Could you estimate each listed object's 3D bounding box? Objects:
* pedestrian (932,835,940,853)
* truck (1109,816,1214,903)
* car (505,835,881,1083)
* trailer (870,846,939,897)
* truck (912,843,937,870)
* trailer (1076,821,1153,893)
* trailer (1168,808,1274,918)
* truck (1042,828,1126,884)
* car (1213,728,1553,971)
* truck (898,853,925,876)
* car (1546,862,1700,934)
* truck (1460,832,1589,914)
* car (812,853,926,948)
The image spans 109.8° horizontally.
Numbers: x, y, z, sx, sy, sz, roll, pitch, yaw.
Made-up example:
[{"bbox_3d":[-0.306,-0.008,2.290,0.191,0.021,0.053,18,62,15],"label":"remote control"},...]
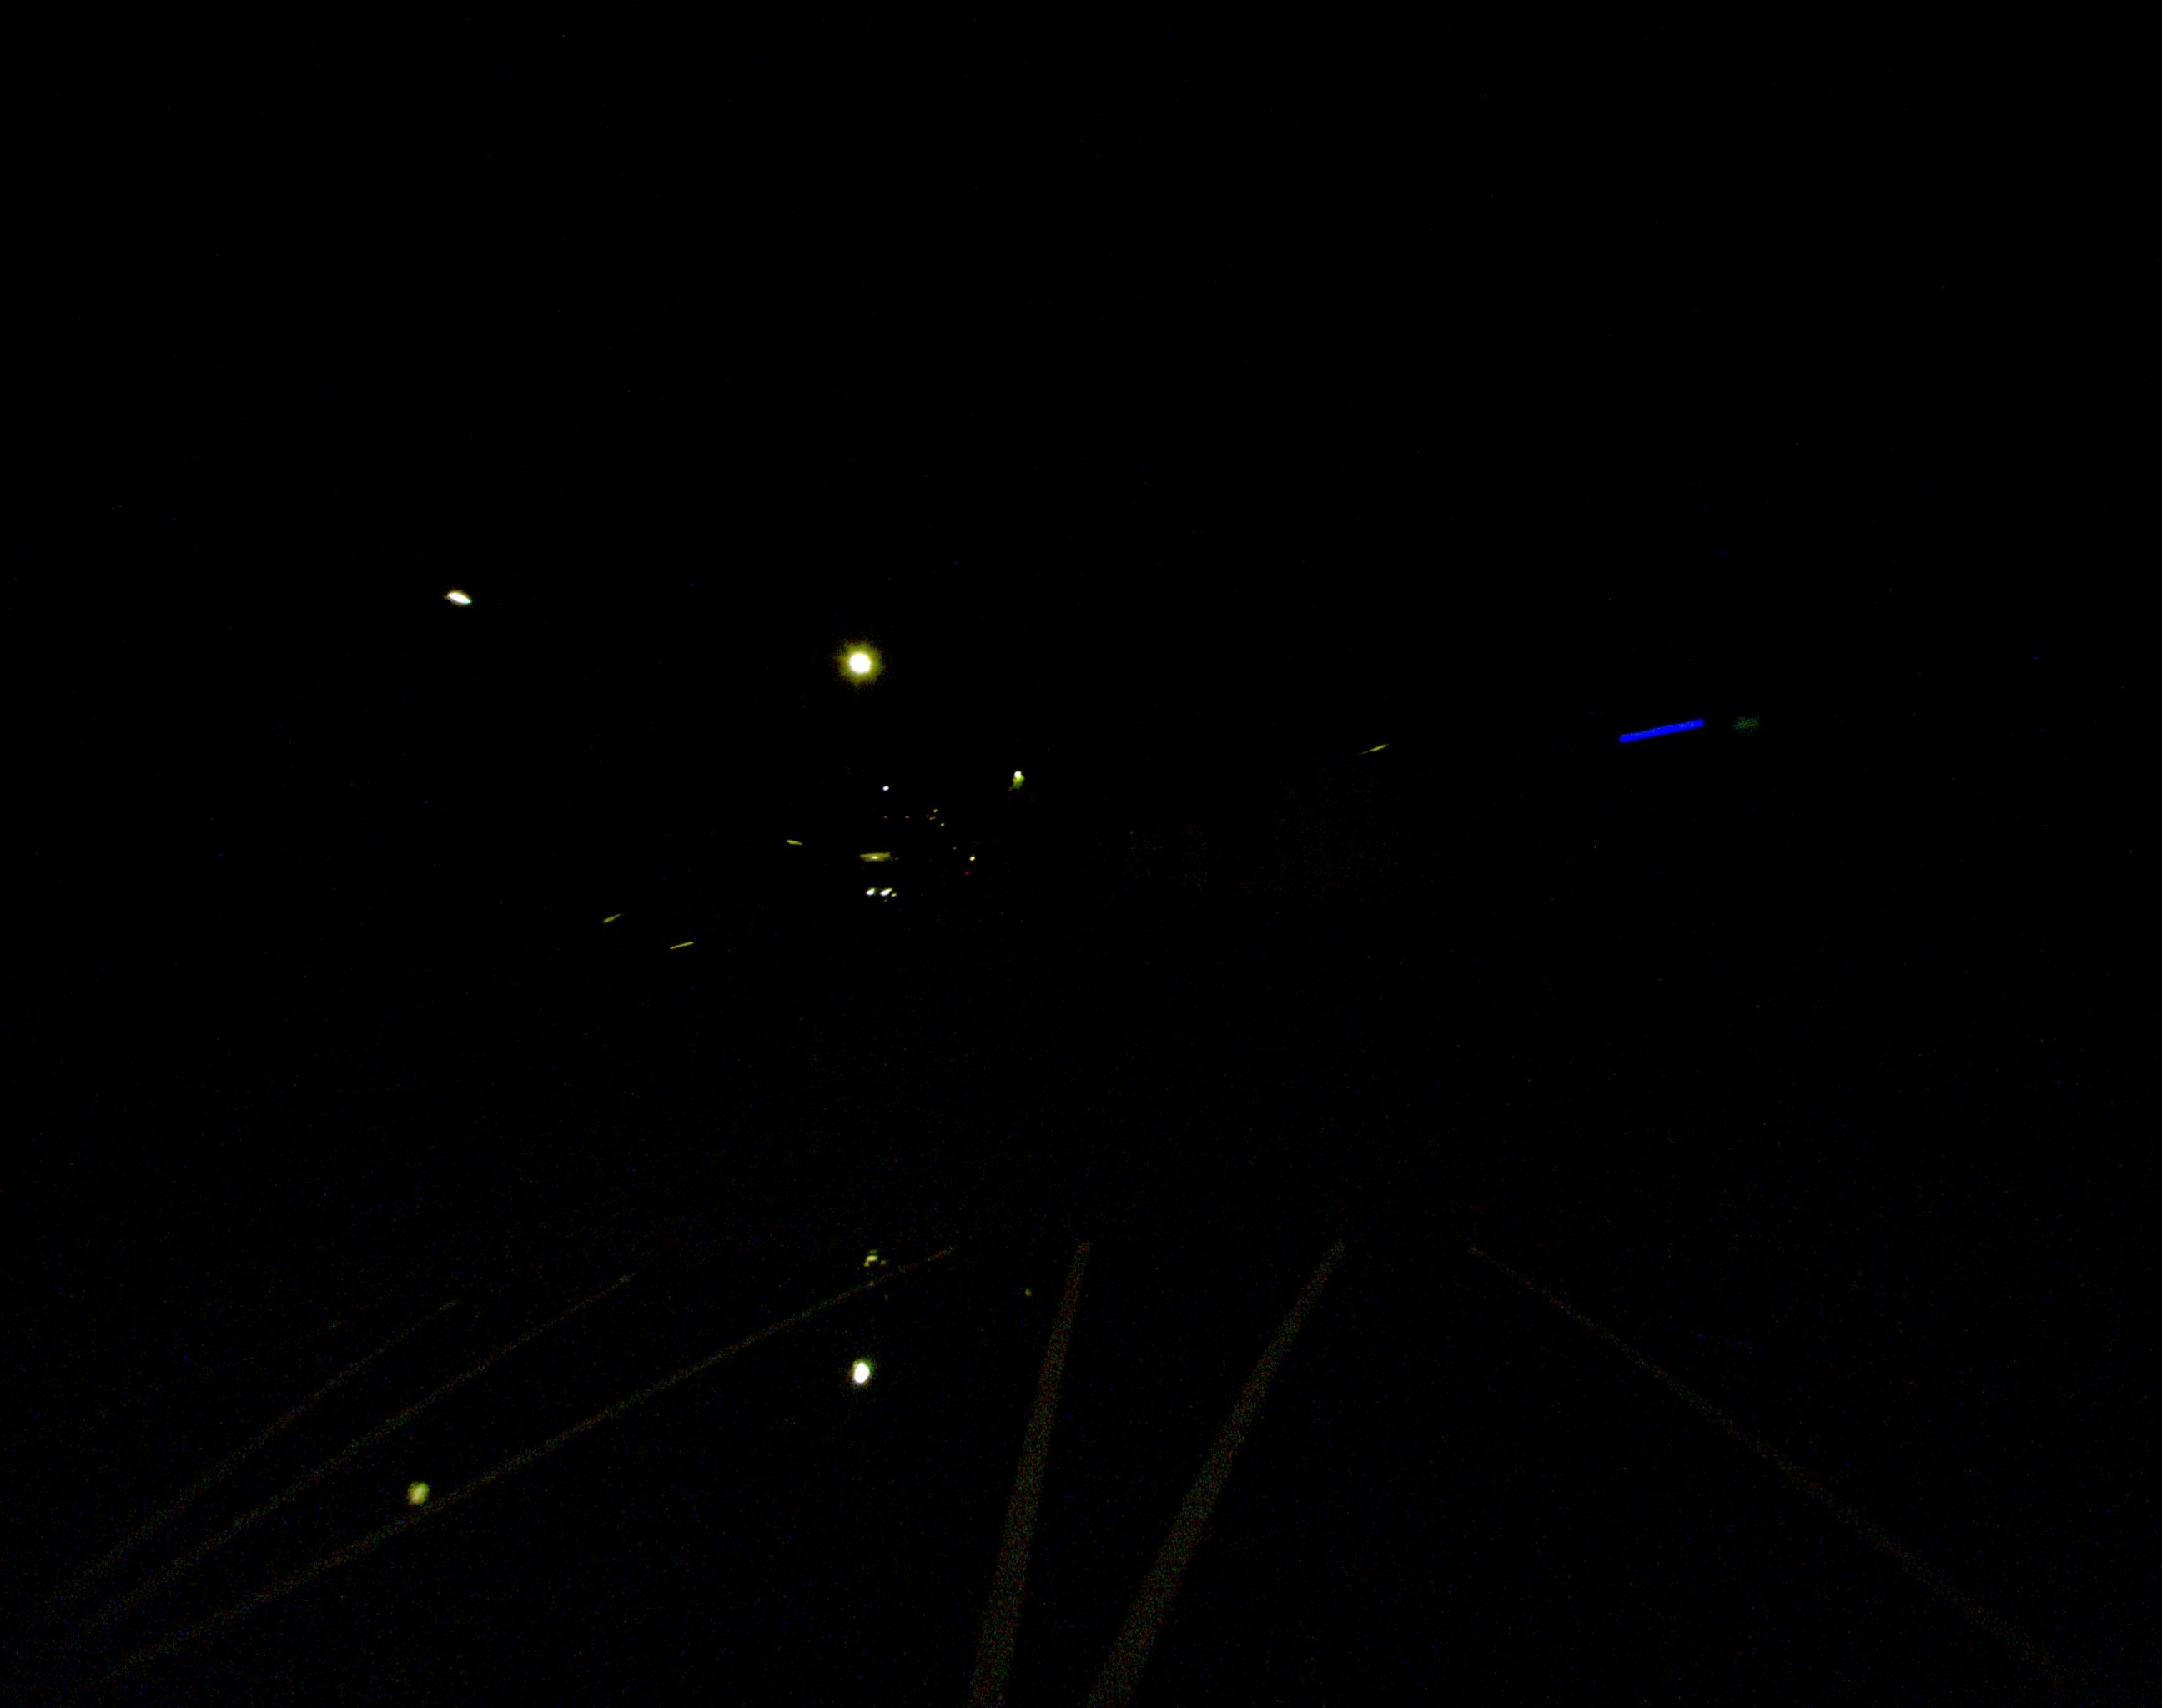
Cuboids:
[{"bbox_3d":[-39.646,-2.684,207.887,1.744,4.679,2.301,-1,0,-7],"label":"pedestrian"},{"bbox_3d":[2.720,0.177,27.878,2.000,2.768,7.238,-1,0,-9],"label":"truck"},{"bbox_3d":[-3.997,0.899,9.158,1.999,2.002,5.353,-3,0,-4],"label":"car"},{"bbox_3d":[-7.571,0.701,32.215,1.498,2.002,4.974,-1,0,-29],"label":"trailer"},{"bbox_3d":[-22.140,0.344,108.193,3.058,3.602,9.592,-1,0,-9],"label":"truck"},{"bbox_3d":[1.413,0.110,36.631,2.490,3.055,7.949,-1,0,-6],"label":"trailer"},{"bbox_3d":[3.740,0.245,21.089,2.002,2.749,3.999,0,0,-3],"label":"trailer"},{"bbox_3d":[-0.046,0.111,47.024,2.753,3.047,9.324,-1,0,-15],"label":"truck"},{"bbox_3d":[4.756,-0.083,13.842,2.390,3.224,7.226,-1,0,-9],"label":"car"},{"bbox_3d":[-20.066,1.230,90.349,2.407,2.555,6.402,-1,0,-6],"label":"truck"},{"bbox_3d":[13.982,1.053,19.893,1.860,1.630,4.004,0,0,12],"label":"car"},{"bbox_3d":[15.894,0.597,27.772,2.135,2.598,7.106,0,0,14],"label":"truck"},{"bbox_3d":[-4.573,0.903,16.982,1.734,1.769,4.313,-2,0,-7],"label":"car"}]
